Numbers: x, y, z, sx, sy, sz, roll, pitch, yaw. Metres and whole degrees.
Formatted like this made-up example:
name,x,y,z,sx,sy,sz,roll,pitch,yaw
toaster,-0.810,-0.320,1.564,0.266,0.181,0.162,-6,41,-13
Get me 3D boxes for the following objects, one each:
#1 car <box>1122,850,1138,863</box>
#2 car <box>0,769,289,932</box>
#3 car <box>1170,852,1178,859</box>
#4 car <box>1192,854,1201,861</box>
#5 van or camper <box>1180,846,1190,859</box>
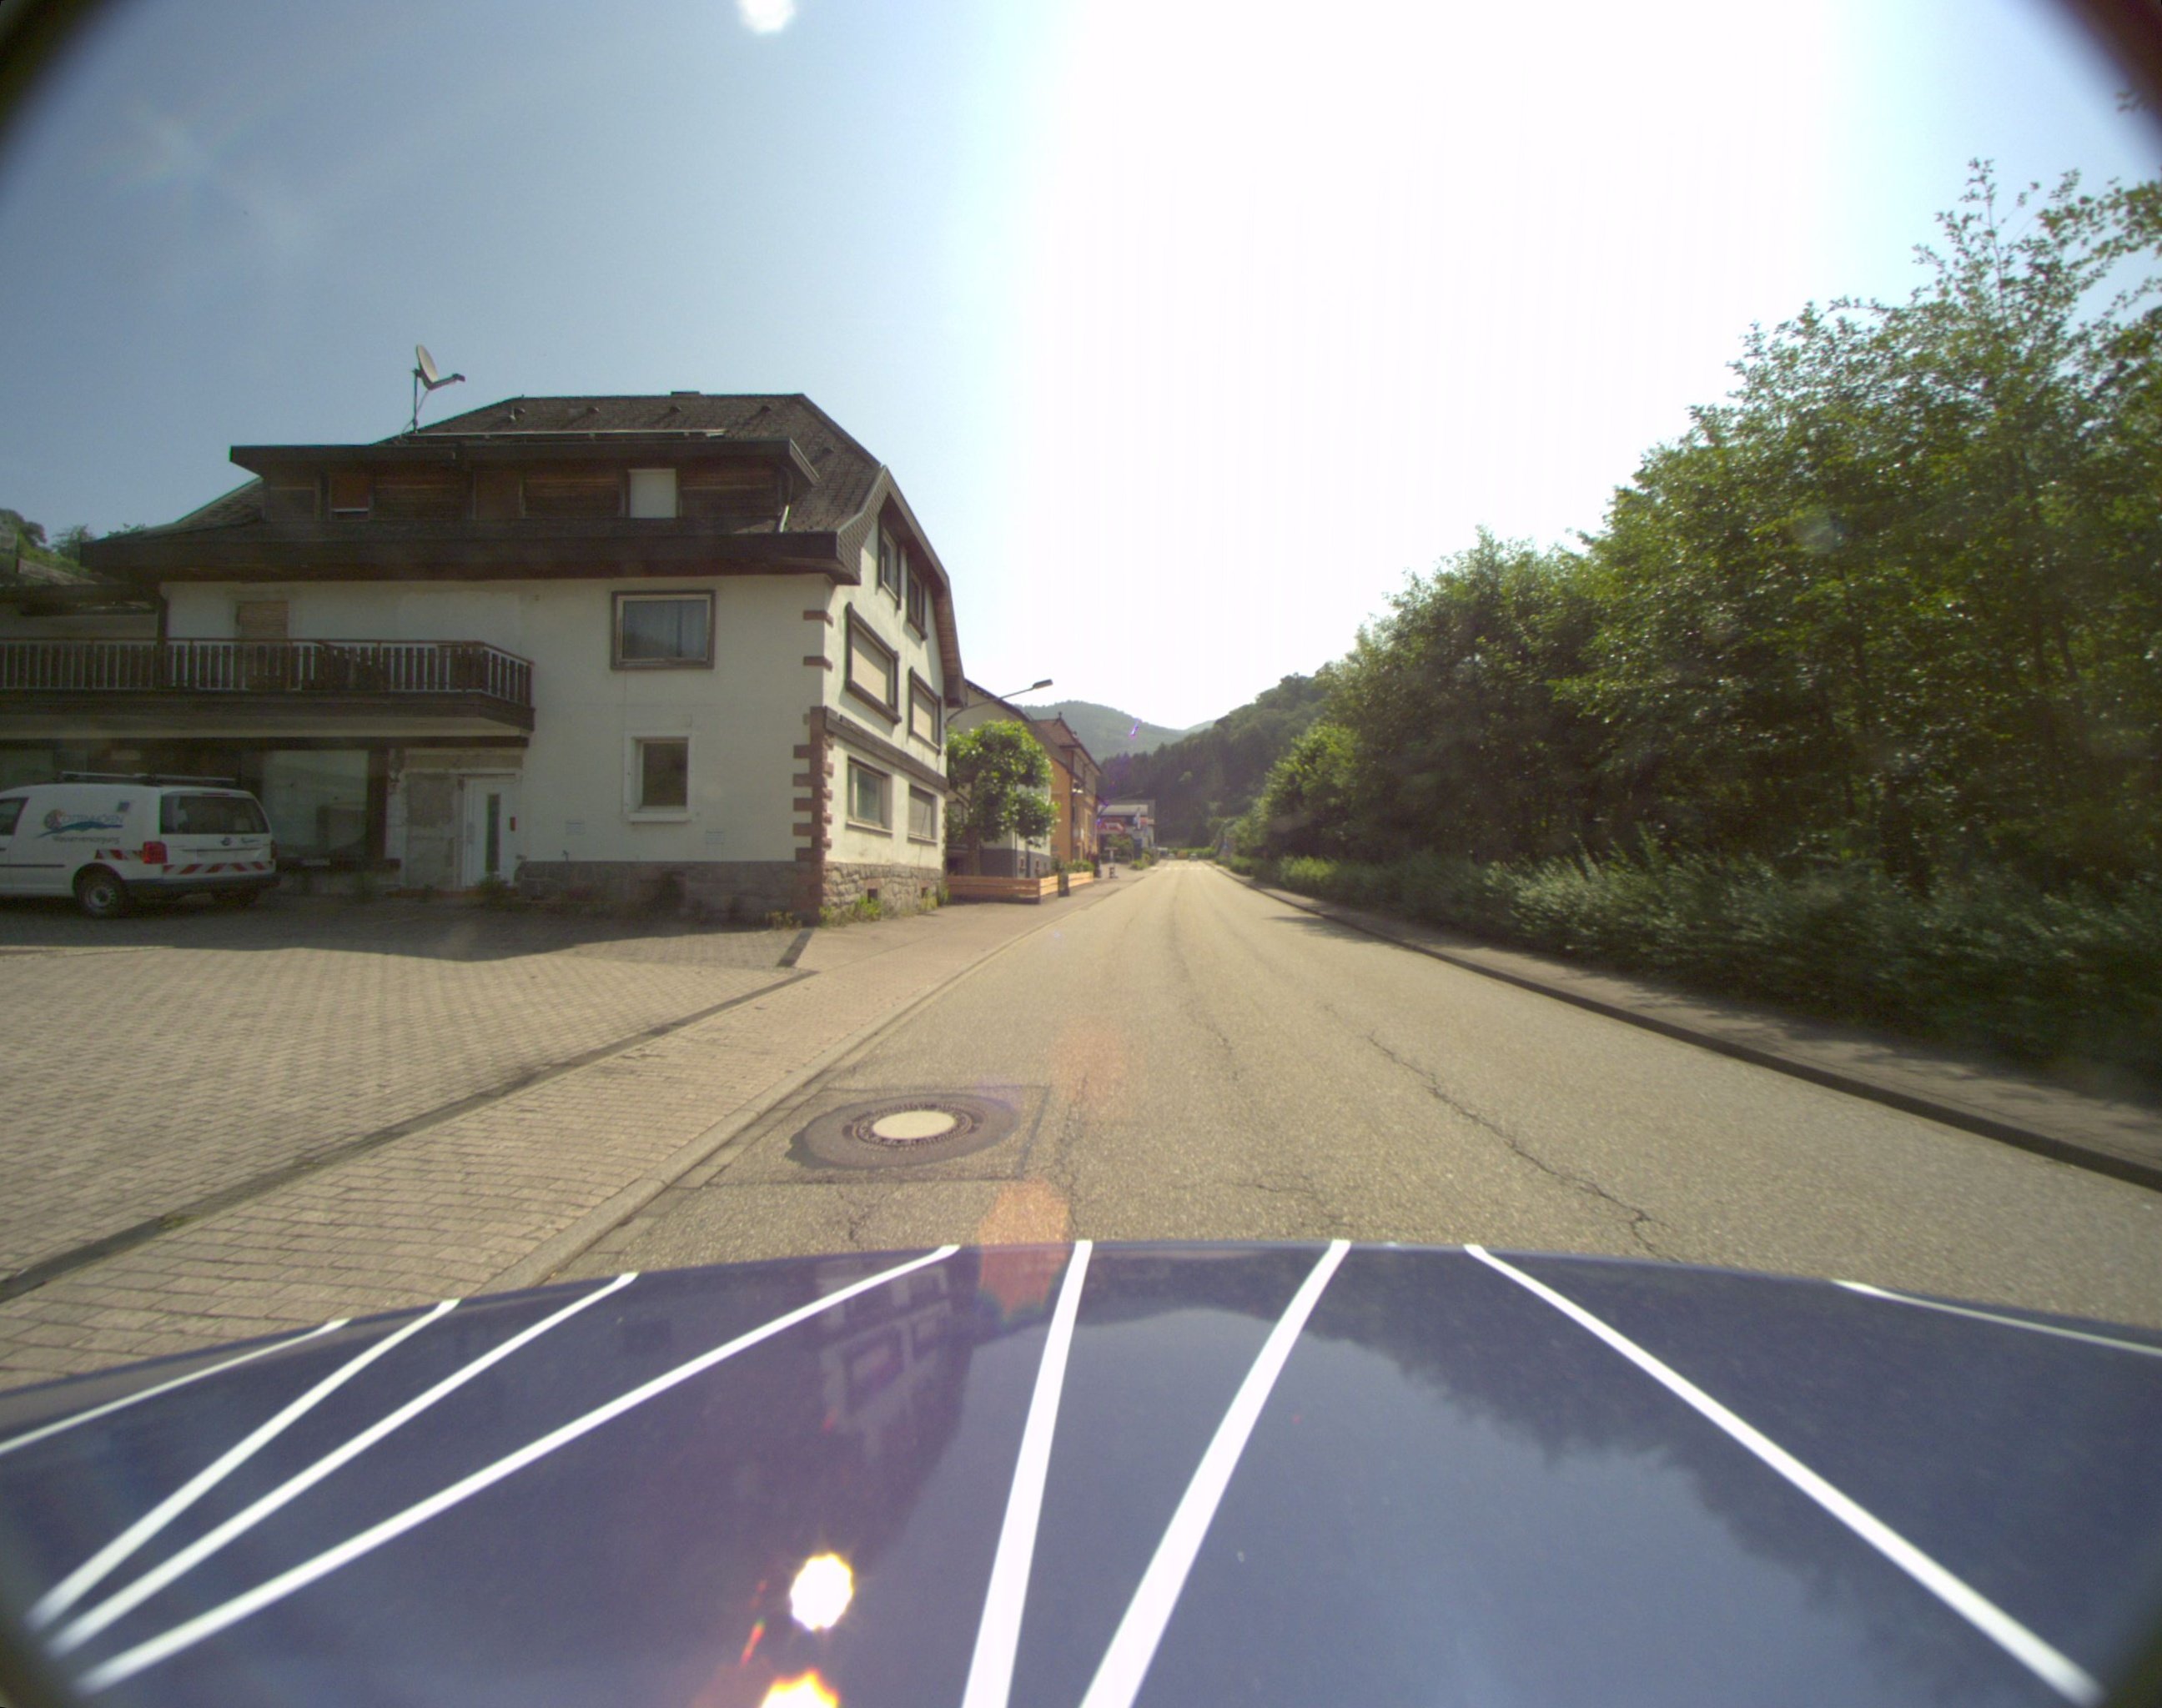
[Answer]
name,x,y,z,sx,sy,sz,roll,pitch,yaw
car,6.350,0.308,98.256,1.695,1.568,3.913,4,1,9
car,-14.289,-0.117,10.907,4.016,1.973,1.635,4,2,-1
car,21.490,0.332,175.366,1.607,1.398,3.829,2,1,8
car,23.484,0.713,154.605,1.593,1.474,3.760,1,0,10
van or camper,24.716,-0.401,180.470,2.362,2.936,8.056,1,0,8
